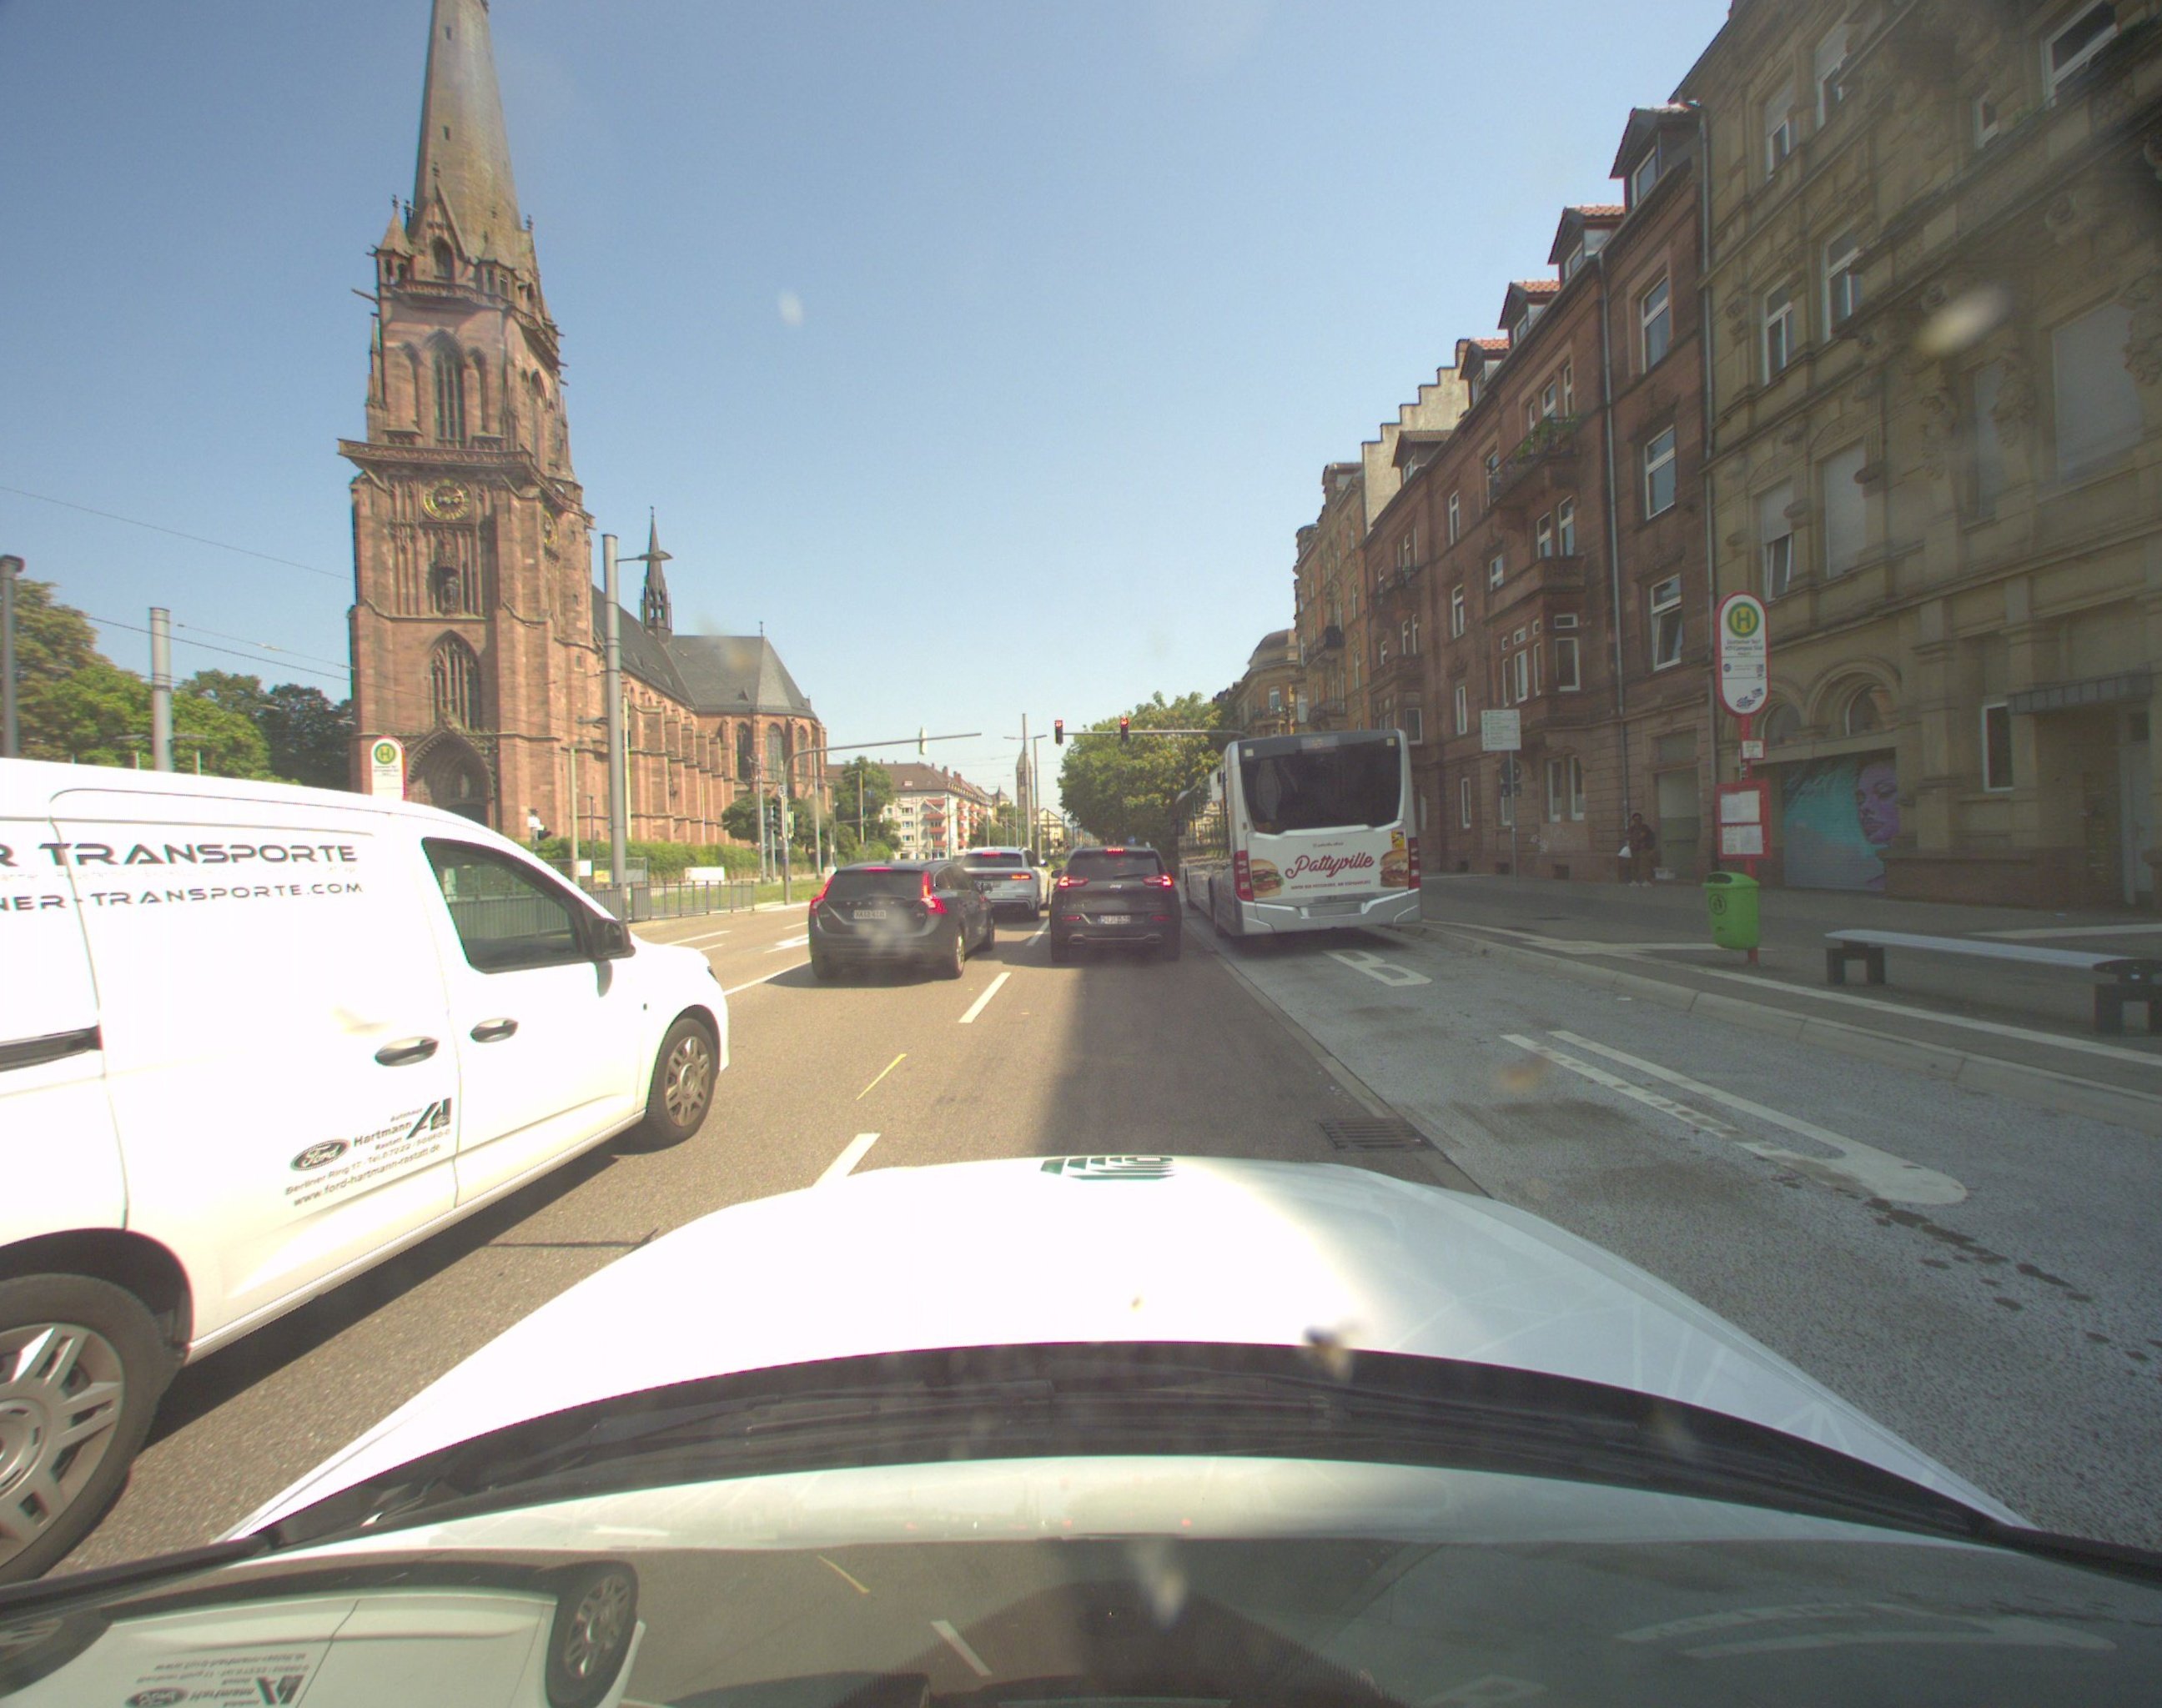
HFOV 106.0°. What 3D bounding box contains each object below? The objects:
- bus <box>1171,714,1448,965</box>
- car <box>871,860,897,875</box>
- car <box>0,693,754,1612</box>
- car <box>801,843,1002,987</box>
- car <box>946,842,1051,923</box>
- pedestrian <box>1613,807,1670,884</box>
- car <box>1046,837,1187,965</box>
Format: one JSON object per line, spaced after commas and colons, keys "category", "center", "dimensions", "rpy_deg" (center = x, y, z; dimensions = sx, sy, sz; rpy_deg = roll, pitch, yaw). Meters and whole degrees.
{"category": "bus", "center": [3.667, -0.193, 16.739], "dimensions": [2.732, 3.107, 11.965], "rpy_deg": [-5, 0, 3]}
{"category": "car", "center": [-21.092, 1.465, 87.403], "dimensions": [1.742, 1.435, 4.569], "rpy_deg": [-4, 0, -2]}
{"category": "car", "center": [-2.989, 0.604, 2.986], "dimensions": [1.741, 1.820, 4.240], "rpy_deg": [-1, 0, 1]}
{"category": "car", "center": [-2.258, 0.691, 11.434], "dimensions": [1.741, 1.614, 4.309], "rpy_deg": [-1, 0, 1]}
{"category": "car", "center": [-1.803, 0.591, 19.153], "dimensions": [1.895, 1.651, 4.309], "rpy_deg": [-1, 0, 1]}
{"category": "pedestrian", "center": [13.262, -0.205, 19.272], "dimensions": [0.872, 1.778, 0.737], "rpy_deg": [-2, 0, -26]}
{"category": "car", "center": [0.561, 0.614, 12.808], "dimensions": [1.825, 1.651, 4.311], "rpy_deg": [-1, 0, 2]}
